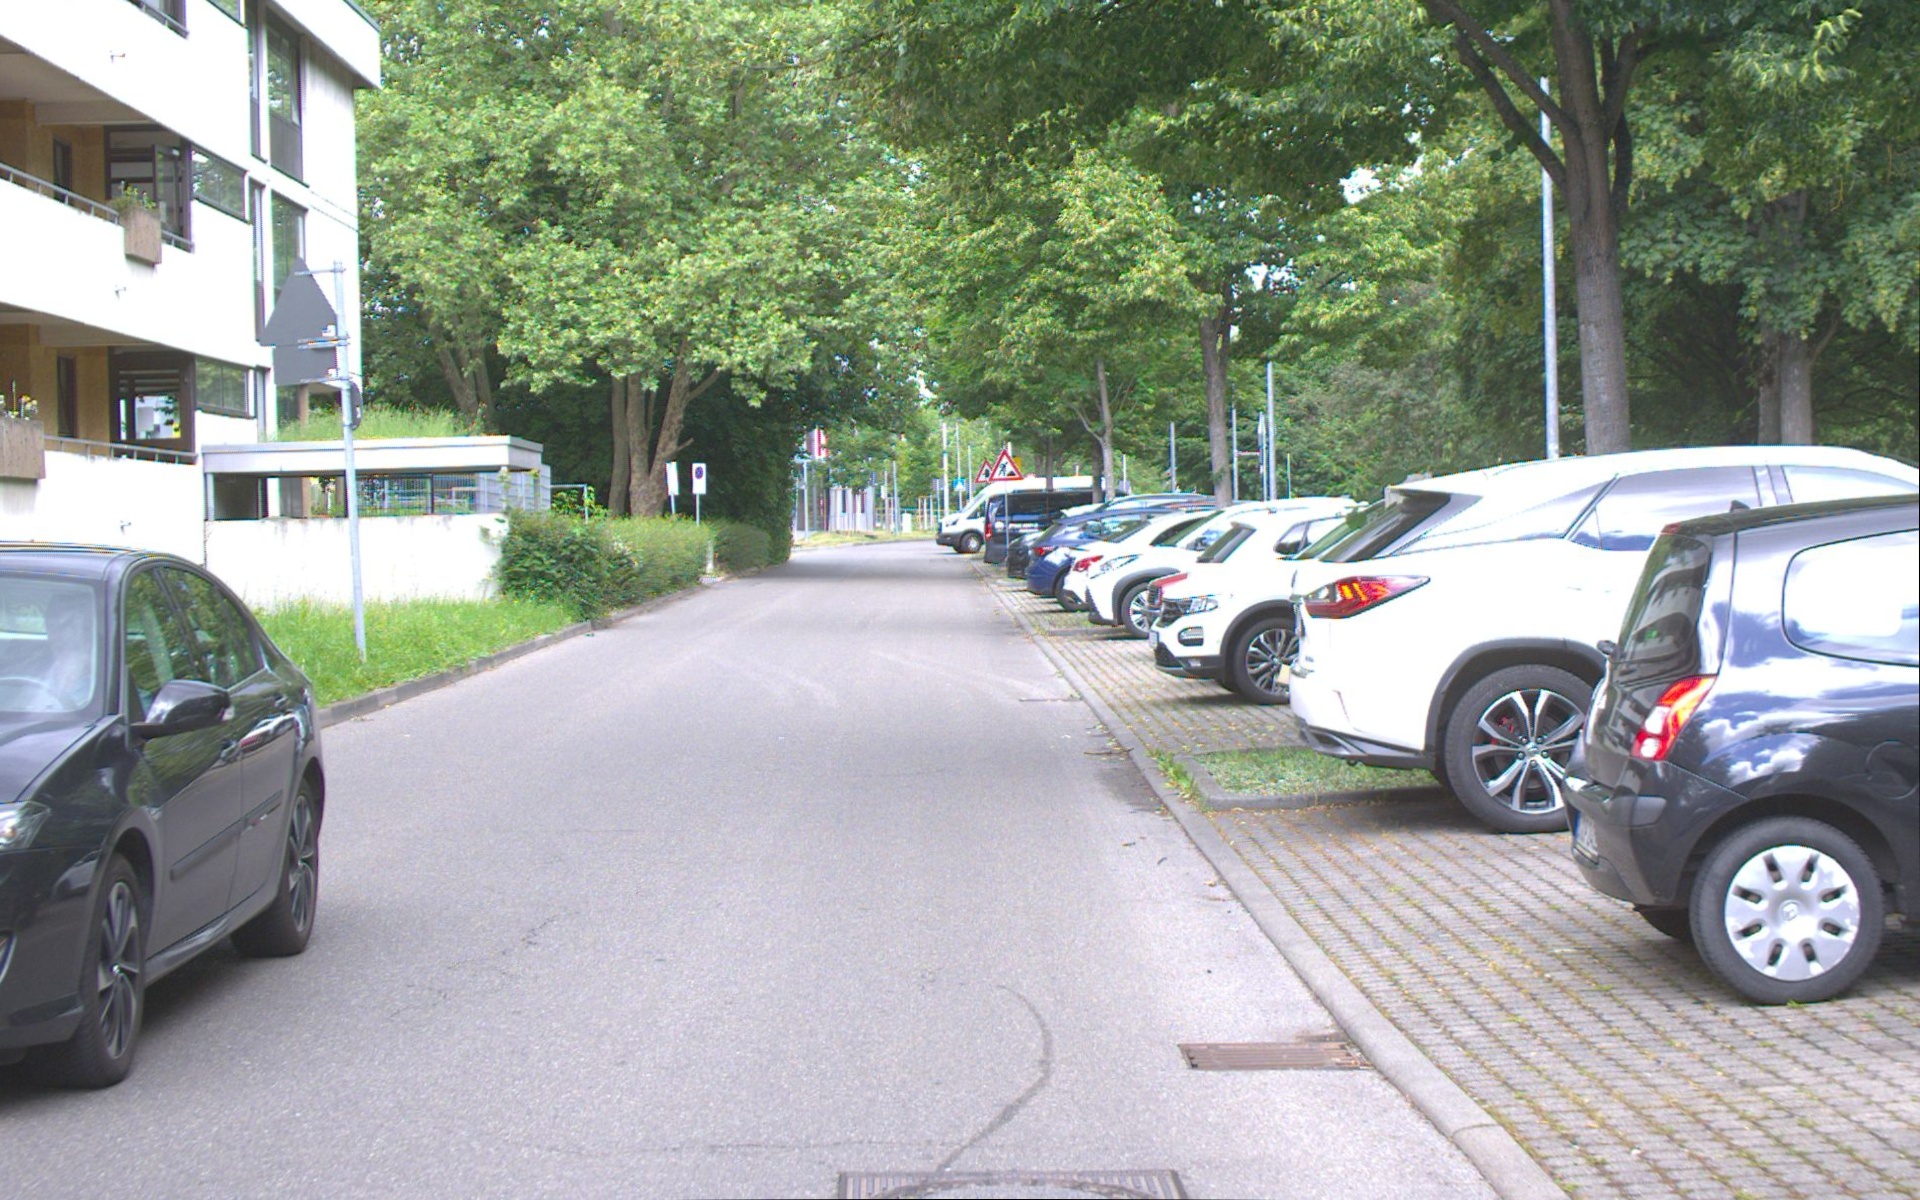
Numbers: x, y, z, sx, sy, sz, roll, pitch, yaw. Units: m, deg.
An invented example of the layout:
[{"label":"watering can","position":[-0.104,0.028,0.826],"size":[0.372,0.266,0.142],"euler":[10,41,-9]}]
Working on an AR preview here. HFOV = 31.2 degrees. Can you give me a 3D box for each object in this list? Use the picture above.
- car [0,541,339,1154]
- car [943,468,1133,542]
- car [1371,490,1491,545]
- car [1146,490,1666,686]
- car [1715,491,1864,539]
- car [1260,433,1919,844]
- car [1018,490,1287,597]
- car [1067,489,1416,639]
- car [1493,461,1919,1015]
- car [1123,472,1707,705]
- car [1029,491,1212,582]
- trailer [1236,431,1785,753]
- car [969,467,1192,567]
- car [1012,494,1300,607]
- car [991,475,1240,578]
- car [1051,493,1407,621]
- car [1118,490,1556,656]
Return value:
[{"label":"car","position":[-3.154,0.543,10.202],"size":[1.913,1.407,4.424],"euler":[0,1,-1]},{"label":"car","position":[2.641,-3.235,117.388],"size":[6.254,2.467,2.140],"euler":[0,1,-7]},{"label":"car","position":[15.232,-2.676,111.390],"size":[3.780,1.662,1.767],"euler":[-1,1,7]},{"label":"car","position":[3.715,-0.117,29.041],"size":[4.007,1.417,1.792],"euler":[-3,1,-5]},{"label":"car","position":[26.502,-2.717,109.950],"size":[4.429,1.423,1.703],"euler":[-1,1,7]},{"label":"car","position":[3.889,0.105,16.037],"size":[4.818,1.687,1.974],"euler":[-3,1,3]},{"label":"car","position":[3.085,-0.922,55.564],"size":[4.072,1.512,1.851],"euler":[-3,1,-4]},{"label":"car","position":[3.191,-0.420,39.479],"size":[3.840,1.510,1.881],"euler":[-3,1,3]},{"label":"car","position":[3.890,0.335,10.737],"size":[4.158,1.565,1.851],"euler":[-2,1,1]},{"label":"car","position":[3.430,-0.109,26.428],"size":[4.112,1.542,1.861],"euler":[-3,1,-3]},{"label":"car","position":[3.070,-1.240,66.179],"size":[3.379,1.569,1.797],"euler":[-3,2,0]},{"label":"trailer","position":[3.360,-0.067,21.331],"size":[3.029,1.784,1.563],"euler":[-3,1,-3]},{"label":"car","position":[2.749,-1.911,79.068],"size":[4.954,2.006,2.166],"euler":[-3,1,1]},{"label":"car","position":[2.838,-0.735,50.512],"size":[4.072,1.451,1.851],"euler":[-3,1,1]},{"label":"car","position":[2.837,-1.368,63.568],"size":[4.415,1.670,2.082],"euler":[-3,2,0]},{"label":"car","position":[3.494,-0.580,45.273],"size":[4.485,1.449,1.847],"euler":[-3,1,0]},{"label":"car","position":[3.691,-0.280,34.167],"size":[4.054,1.417,1.817],"euler":[-3,1,-1]}]
